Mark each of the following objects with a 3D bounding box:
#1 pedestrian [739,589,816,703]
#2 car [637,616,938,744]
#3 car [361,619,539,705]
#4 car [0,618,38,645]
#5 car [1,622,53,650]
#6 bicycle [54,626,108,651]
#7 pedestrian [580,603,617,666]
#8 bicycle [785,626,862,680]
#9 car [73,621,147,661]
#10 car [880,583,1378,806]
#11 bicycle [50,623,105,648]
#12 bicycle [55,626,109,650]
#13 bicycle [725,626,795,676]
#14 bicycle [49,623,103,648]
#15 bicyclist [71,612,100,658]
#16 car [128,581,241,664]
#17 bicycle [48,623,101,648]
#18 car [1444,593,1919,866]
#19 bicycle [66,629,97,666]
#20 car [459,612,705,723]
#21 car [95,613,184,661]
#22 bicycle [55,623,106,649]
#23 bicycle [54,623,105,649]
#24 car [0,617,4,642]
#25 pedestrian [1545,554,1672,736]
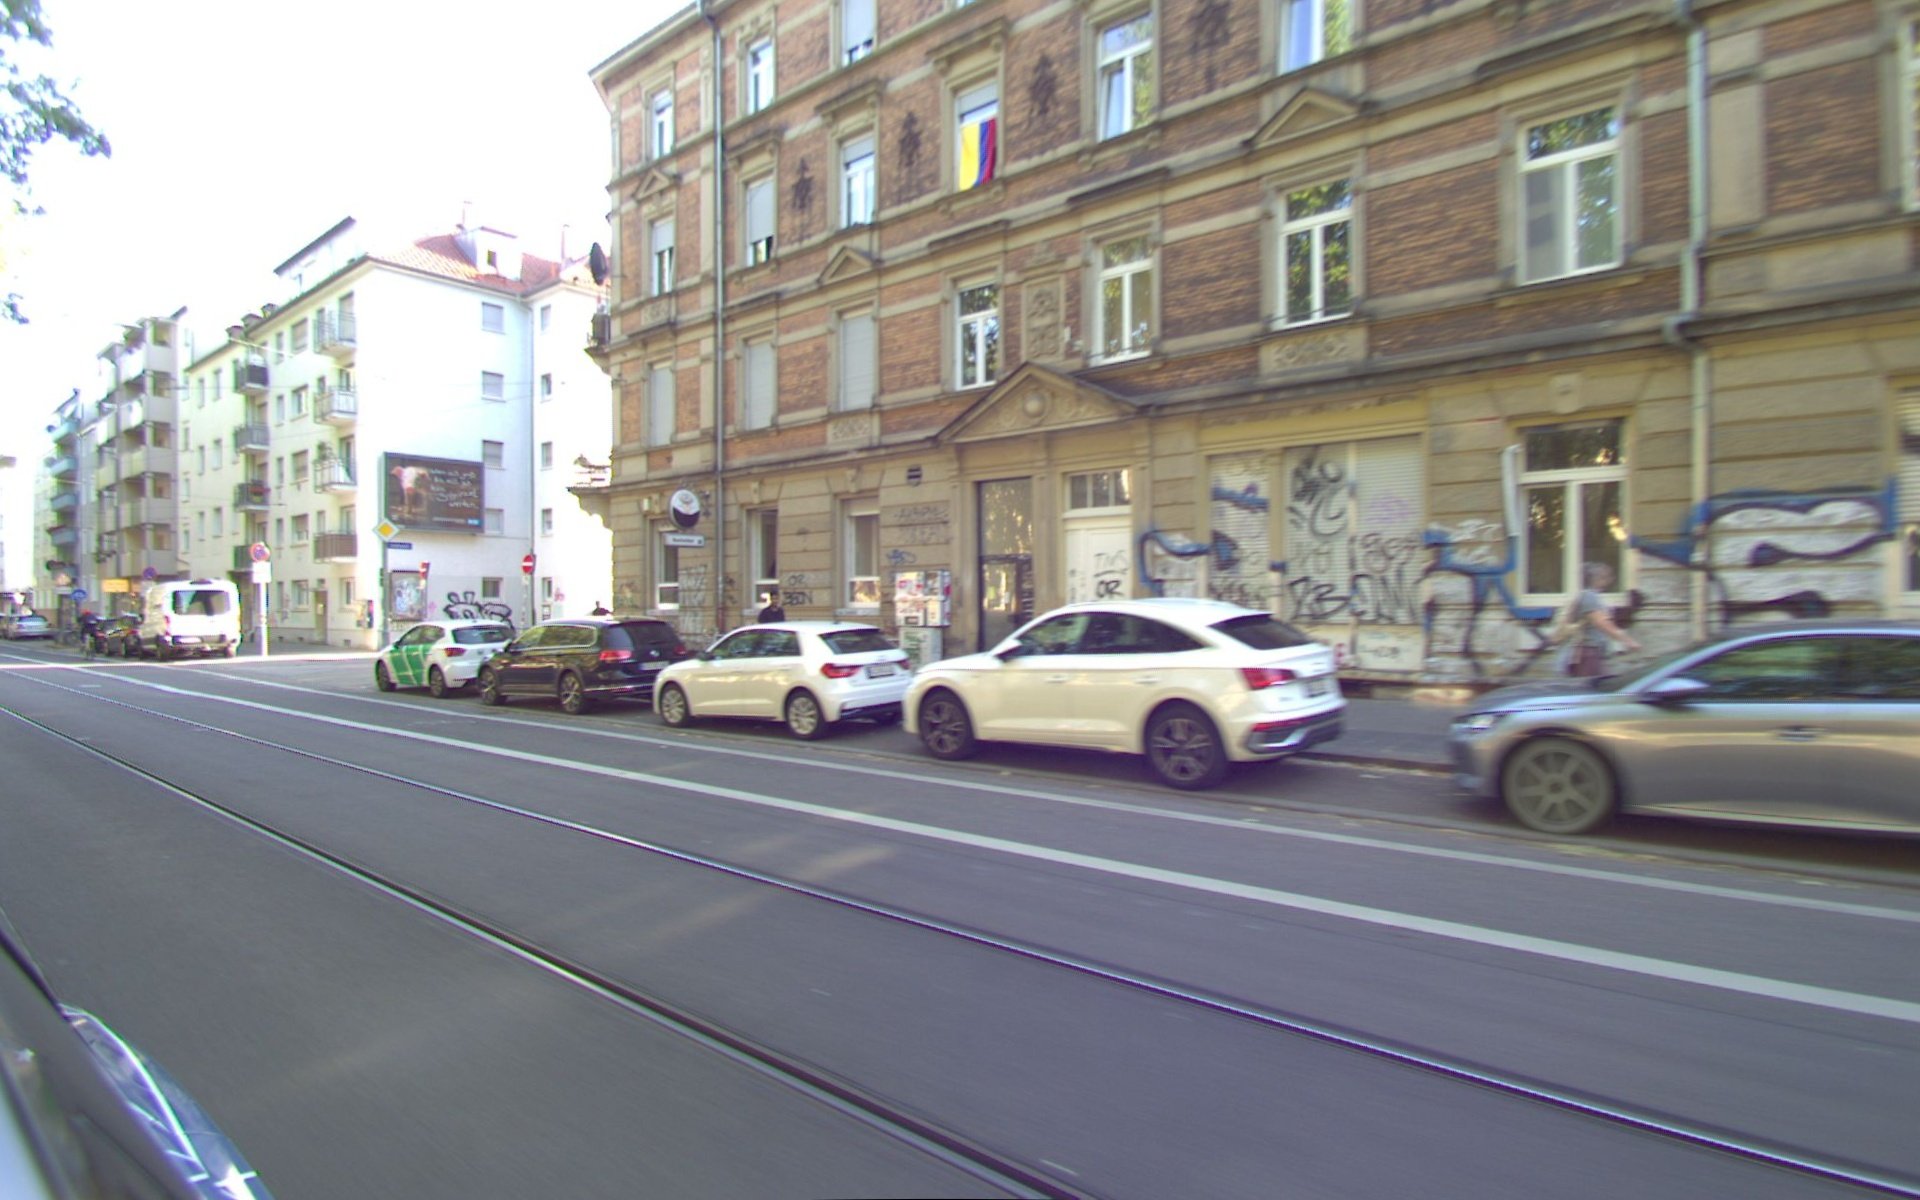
[{"bbox_3d":[-3.018,0.746,16.749,1.053,1.814,0.678,-1,0,32],"label":"pedestrian"},{"bbox_3d":[-2.389,0.958,13.565,3.993,1.431,1.684,-1,1,37],"label":"car"},{"bbox_3d":[-10.324,1.171,20.391,4.041,1.503,1.723,-1,1,40],"label":"car"},{"bbox_3d":[-56.368,1.846,60.141,4.236,1.502,1.776,-1,-1,39],"label":"car"},{"bbox_3d":[-52.644,2.001,57.080,4.726,1.502,1.672,-1,-1,41],"label":"car"},{"bbox_3d":[-40.856,1.778,47.074,1.871,1.045,0.402,-2,1,-43],"label":"bicycle"},{"bbox_3d":[-10.411,1.003,29.135,0.893,1.762,0.649,-3,-1,44],"label":"pedestrian"},{"bbox_3d":[-2.790,1.058,20.553,1.846,1.042,0.369,-1,-1,38],"label":"bicycle"},{"bbox_3d":[-34.271,1.602,40.781,4.571,1.467,1.700,-1,-1,42],"label":"car"},{"bbox_3d":[1.486,0.756,10.192,4.716,1.736,1.768,-1,1,41],"label":"car"},{"bbox_3d":[-42.263,1.693,48.467,1.945,1.127,0.425,-2,1,-43],"label":"bicycle"},{"bbox_3d":[-40.461,1.741,46.662,1.871,1.045,0.402,-2,1,-43],"label":"bicycle"},{"bbox_3d":[-4.323,1.078,21.775,1.846,1.042,0.369,-1,-1,38],"label":"bicycle"},{"bbox_3d":[-42.610,1.697,48.809,1.937,1.127,0.440,-2,1,-43],"label":"bicycle"},{"bbox_3d":[-28.820,1.133,33.353,0.806,1.493,0.576,-1,-2,40],"label":"bicyclist"},{"bbox_3d":[-25.969,0.710,33.825,5.666,2.555,2.042,-1,-1,42],"label":"car"},{"bbox_3d":[-43.004,1.702,49.178,1.908,1.127,0.440,-2,1,-43],"label":"bicycle"},{"bbox_3d":[5.601,0.738,6.701,4.060,1.532,1.646,-1,1,39],"label":"car"},{"bbox_3d":[-28.988,1.557,33.377,2.230,1.159,0.416,0,-1,40],"label":"bicycle"},{"bbox_3d":[-6.461,1.019,17.037,4.782,1.574,1.723,-1,1,40],"label":"car"},{"bbox_3d":[-30.155,1.314,37.163,4.342,1.644,1.701,-1,-1,39],"label":"car"},{"bbox_3d":[-41.326,1.682,47.576,1.768,1.127,0.425,-2,1,-43],"label":"bicycle"},{"bbox_3d":[-41.746,1.687,48.015,1.797,1.127,0.425,-2,1,-43],"label":"bicycle"},{"bbox_3d":[-64.859,1.968,67.077,4.198,1.612,1.640,-1,1,40],"label":"car"},{"bbox_3d":[6.284,0.410,9.831,0.653,1.678,0.771,-1,0,-18],"label":"pedestrian"}]
